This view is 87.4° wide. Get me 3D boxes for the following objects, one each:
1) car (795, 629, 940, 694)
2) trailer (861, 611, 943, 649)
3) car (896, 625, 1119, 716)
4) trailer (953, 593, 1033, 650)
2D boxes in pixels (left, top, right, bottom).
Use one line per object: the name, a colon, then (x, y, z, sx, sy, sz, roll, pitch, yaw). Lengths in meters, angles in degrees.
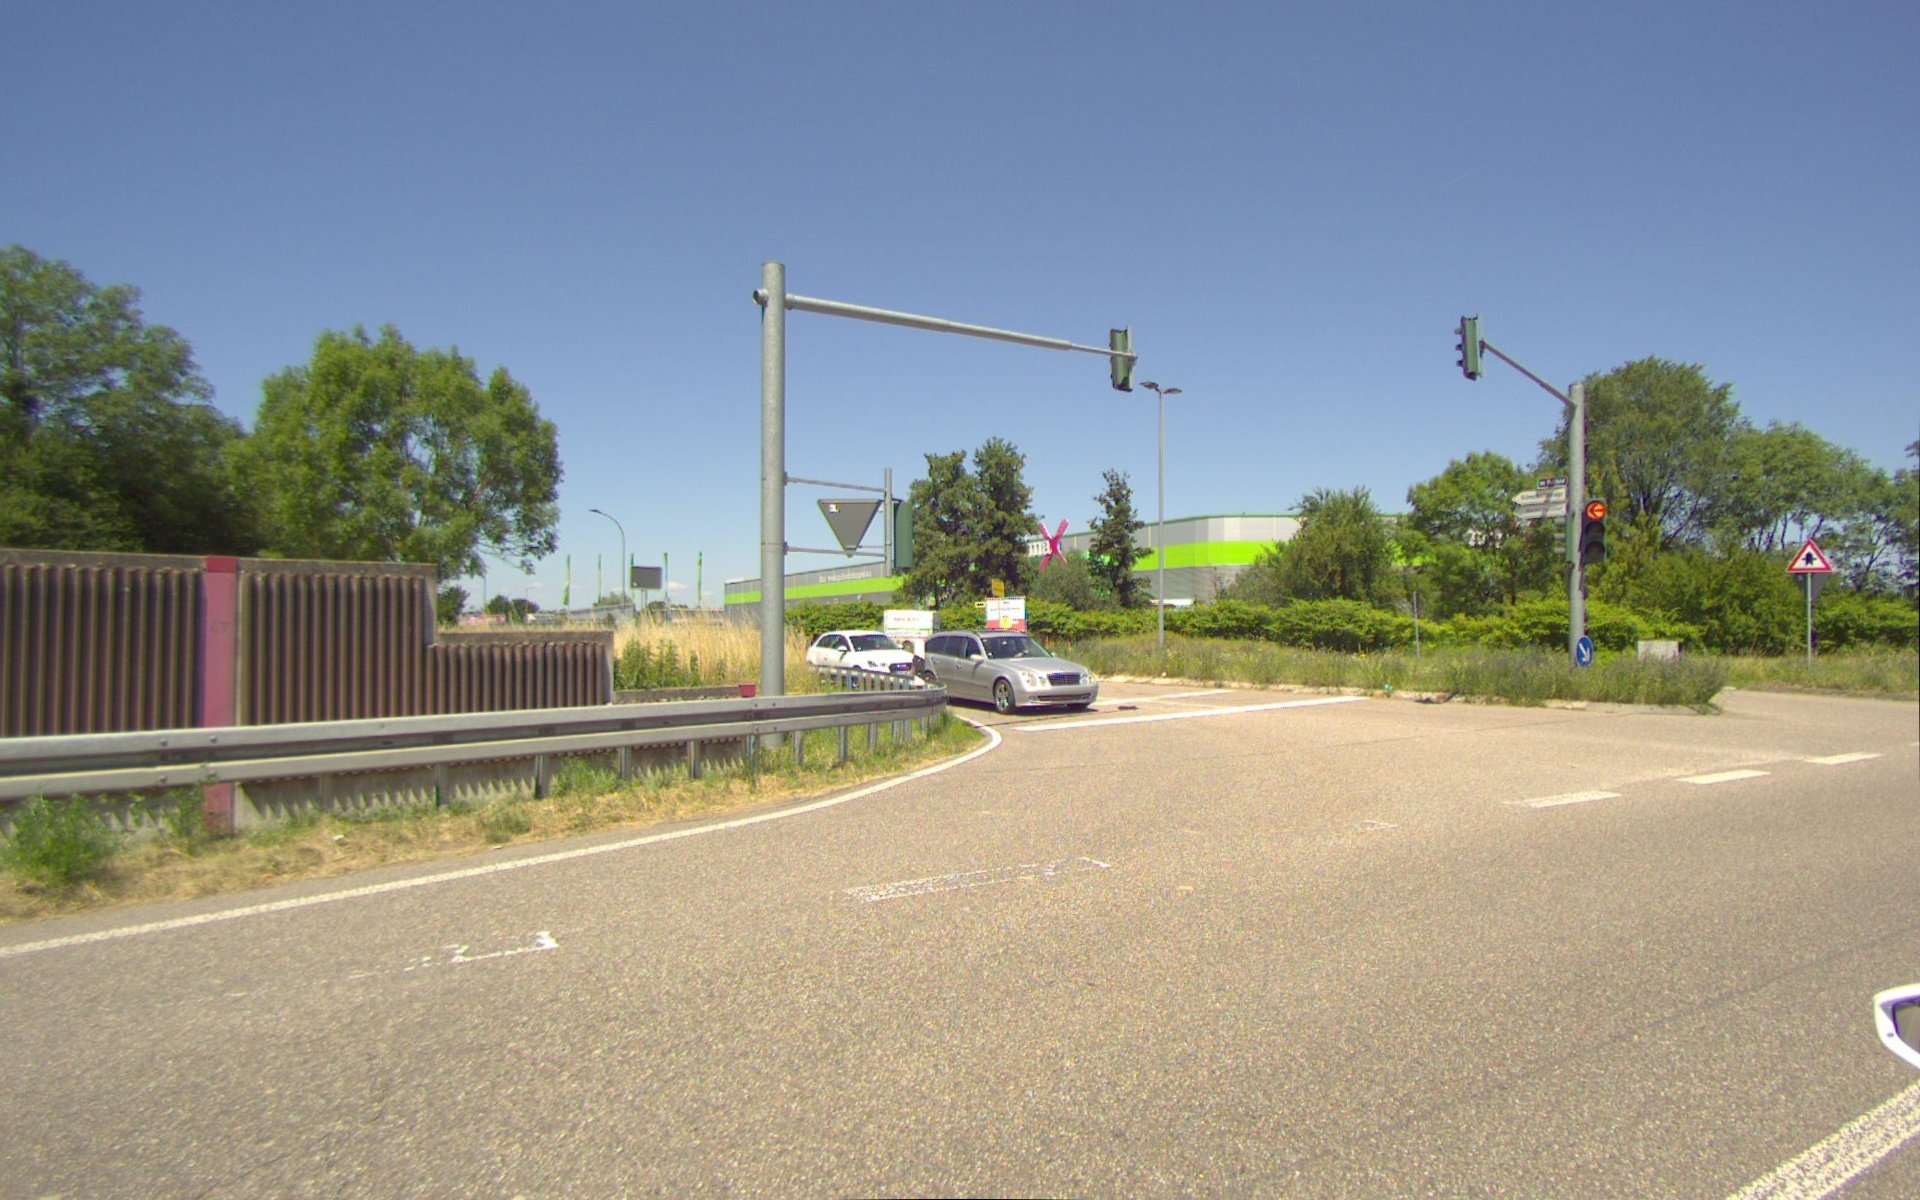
car: (-2.389, 1.470, 25.197, 1.756, 1.417, 3.918, 0, -1, -39)
trailer: (-2.879, 1.501, 50.275, 3.682, 1.815, 1.828, 0, -1, 15)
car: (0.752, 1.260, 19.473, 1.857, 1.476, 4.927, 1, -1, -32)
trailer: (1.672, 1.085, 50.680, 3.682, 2.801, 1.828, 0, -1, 14)
